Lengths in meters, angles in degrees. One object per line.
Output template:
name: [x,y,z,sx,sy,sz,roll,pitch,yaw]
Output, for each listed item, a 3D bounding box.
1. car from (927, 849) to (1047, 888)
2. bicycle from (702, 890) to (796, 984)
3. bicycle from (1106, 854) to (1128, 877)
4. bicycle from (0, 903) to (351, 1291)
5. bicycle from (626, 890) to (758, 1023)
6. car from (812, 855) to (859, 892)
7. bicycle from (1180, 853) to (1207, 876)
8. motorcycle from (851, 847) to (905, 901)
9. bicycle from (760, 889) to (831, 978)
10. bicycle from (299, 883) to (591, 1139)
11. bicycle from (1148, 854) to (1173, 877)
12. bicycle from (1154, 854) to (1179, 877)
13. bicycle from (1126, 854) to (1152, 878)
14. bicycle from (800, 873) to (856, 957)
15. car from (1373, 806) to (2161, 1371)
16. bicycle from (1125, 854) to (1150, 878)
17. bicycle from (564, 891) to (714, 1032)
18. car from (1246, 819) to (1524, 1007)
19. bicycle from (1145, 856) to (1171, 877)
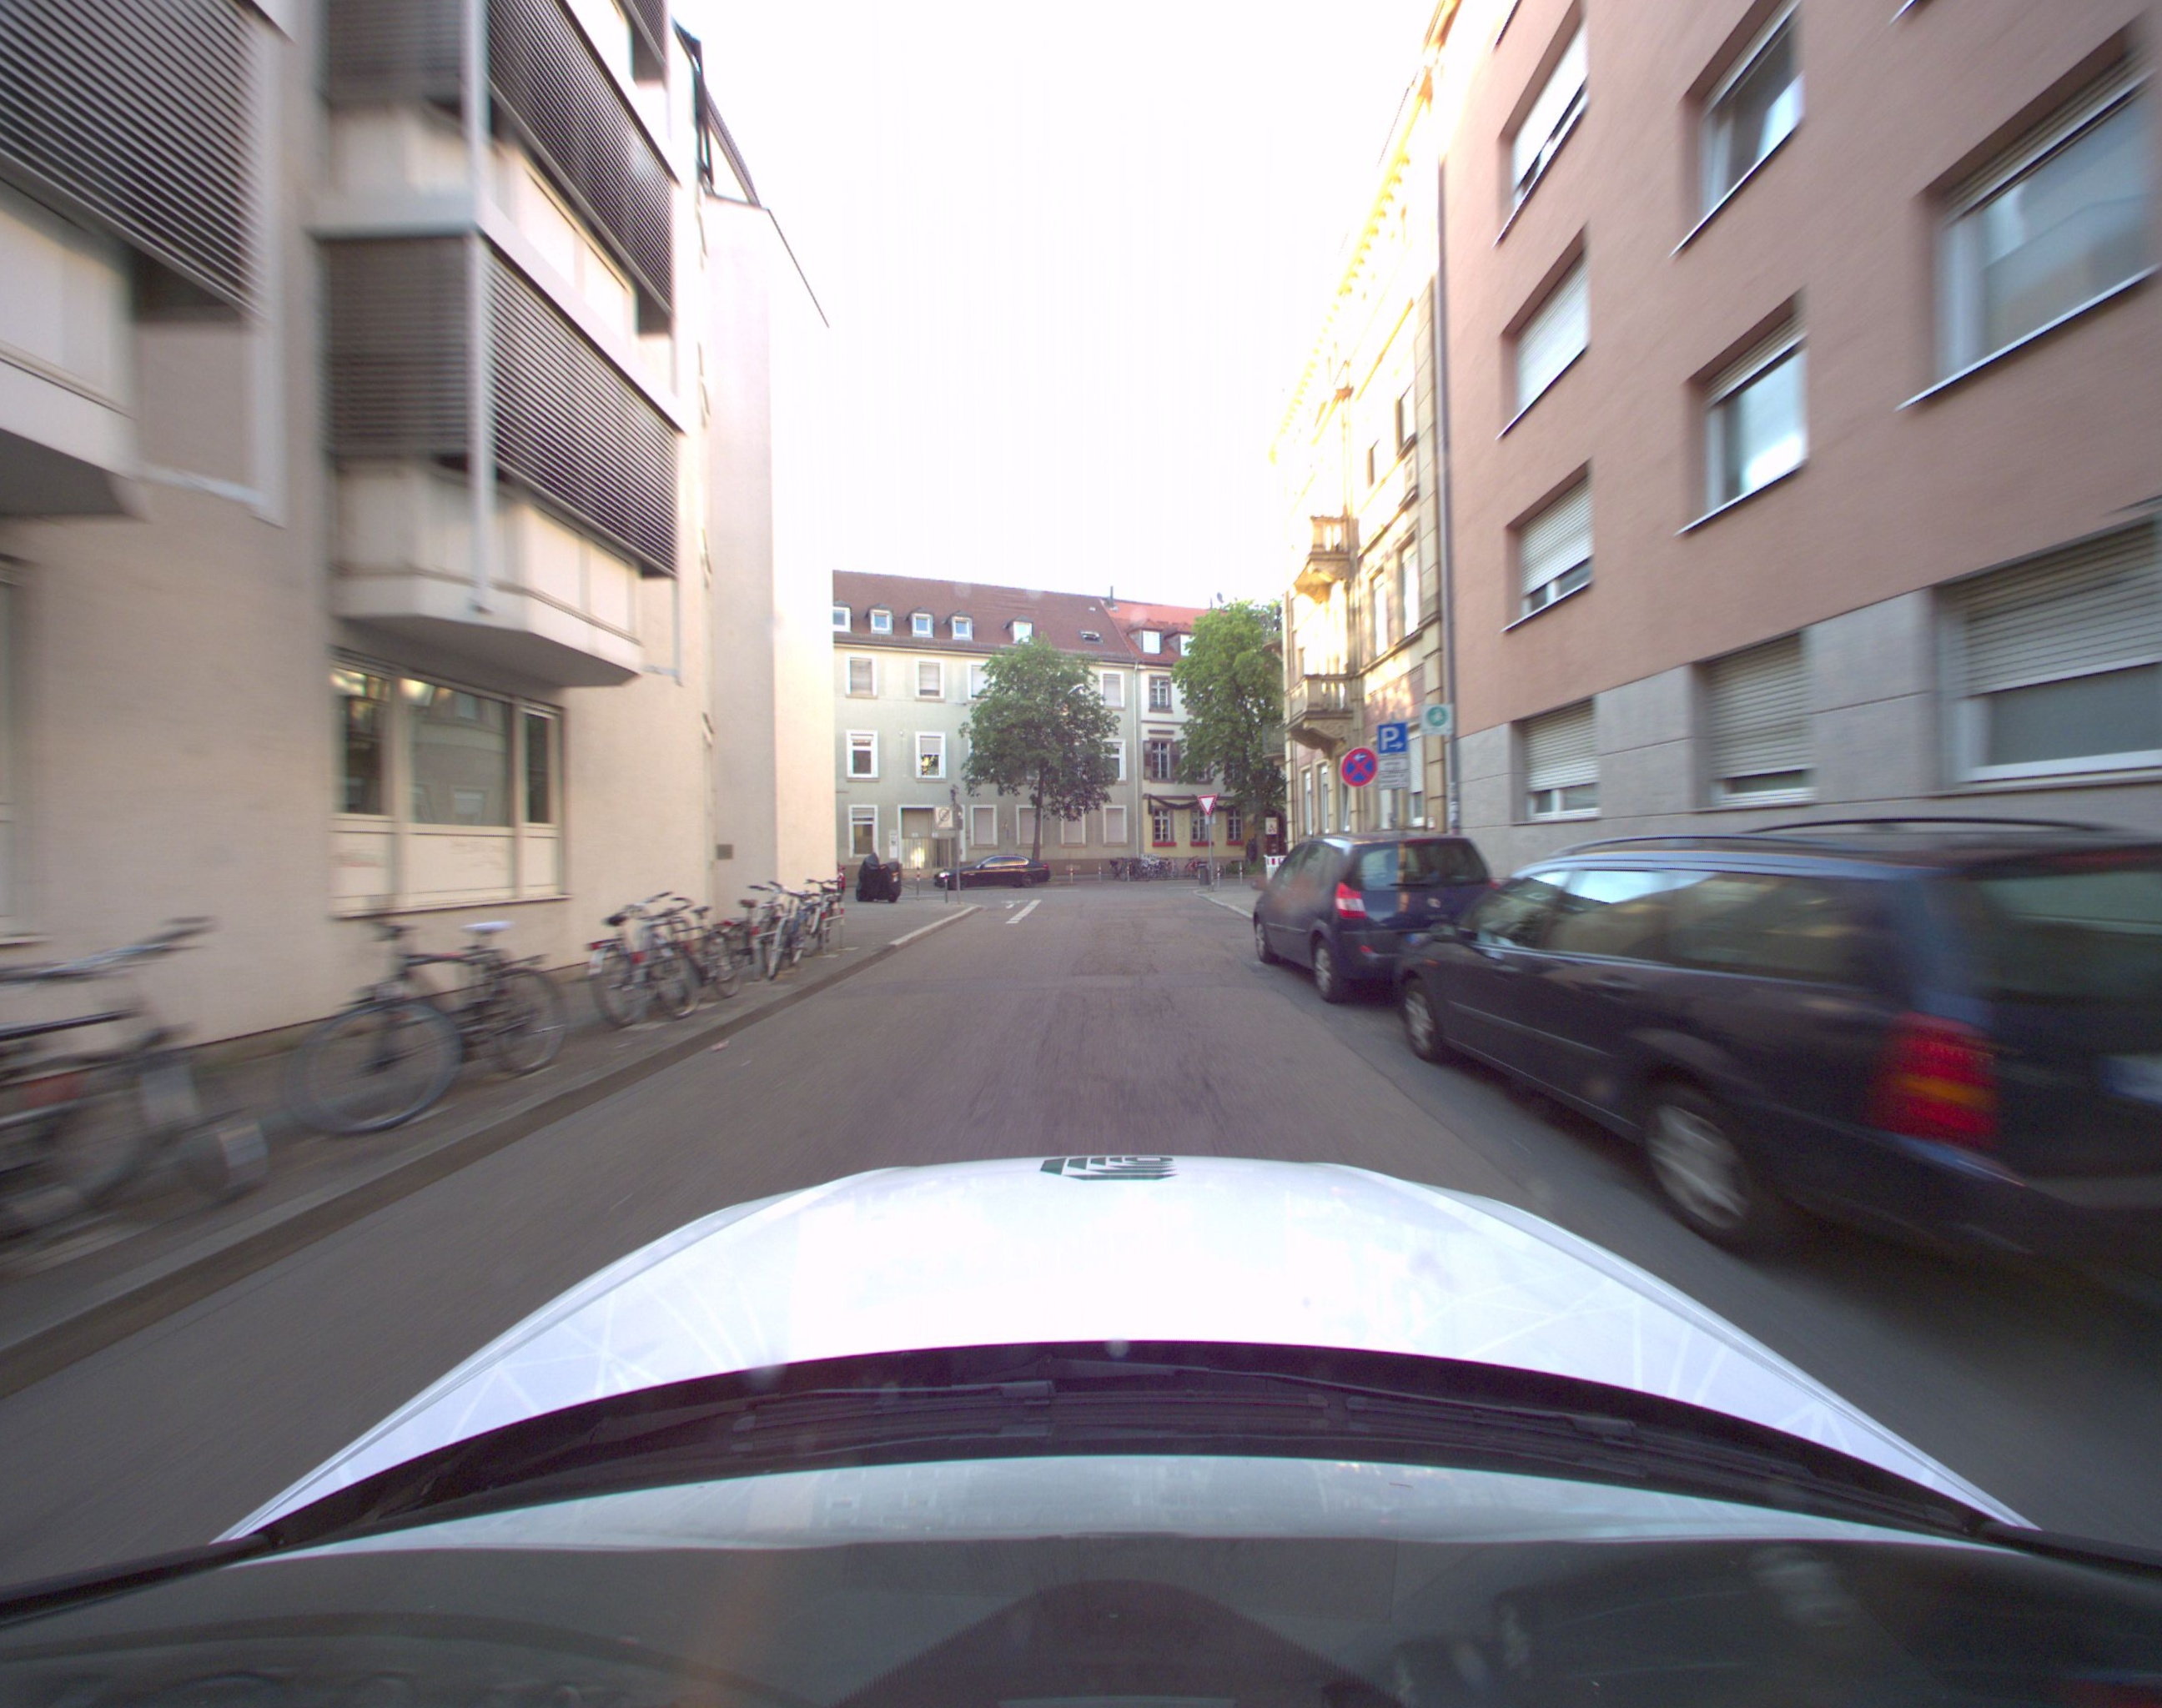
car: [-3.933,0.582,33.951,4.668,1.450,1.756,-2,0,-20]
bicycle: [-3.958,0.946,9.824,0.305,0.932,1.814,-1,0,2]
bicycle: [1.835,0.564,41.574,0.446,1.145,2.030,-2,0,-17]
bicycle: [-3.849,0.843,2.777,0.593,1.187,2.267,1,0,2]
bicycle: [-3.683,0.913,7.860,0.305,1.042,1.814,-1,0,2]
car: [-10.724,0.801,35.476,1.567,1.475,3.640,-2,1,-23]
bicycle: [5.821,0.522,42.137,0.421,1.145,2.027,-2,0,-21]
motorcycle: [-6.234,0.600,24.953,0.673,1.555,2.136,-2,0,-41]
bicycle: [-3.578,0.953,10.319,0.306,0.932,1.812,-1,0,-2]
bicycle: [-3.790,0.833,5.058,0.305,1.222,1.814,-1,0,2]
bicycle: [4.107,0.579,42.186,0.421,1.145,2.027,-2,0,-21]
bicycle: [4.475,0.580,42.714,0.421,1.145,2.027,-2,0,-21]
bicycle: [2.835,0.569,40.152,0.446,1.145,2.028,-2,0,-20]
bicycle: [-3.767,0.865,12.236,0.399,1.102,1.810,-1,0,-4]
car: [3.123,0.607,4.337,1.683,1.514,4.284,-1,0,1]
bicycle: [2.874,0.608,41.860,0.421,1.145,2.027,-2,0,-21]
bicycle: [-4.003,0.915,7.529,0.305,1.042,1.814,-1,0,2]
car: [3.081,0.503,9.181,1.683,1.625,4.056,-1,0,1]
bicycle: [3.848,0.621,41.056,0.421,1.004,2.027,-2,0,-21]
